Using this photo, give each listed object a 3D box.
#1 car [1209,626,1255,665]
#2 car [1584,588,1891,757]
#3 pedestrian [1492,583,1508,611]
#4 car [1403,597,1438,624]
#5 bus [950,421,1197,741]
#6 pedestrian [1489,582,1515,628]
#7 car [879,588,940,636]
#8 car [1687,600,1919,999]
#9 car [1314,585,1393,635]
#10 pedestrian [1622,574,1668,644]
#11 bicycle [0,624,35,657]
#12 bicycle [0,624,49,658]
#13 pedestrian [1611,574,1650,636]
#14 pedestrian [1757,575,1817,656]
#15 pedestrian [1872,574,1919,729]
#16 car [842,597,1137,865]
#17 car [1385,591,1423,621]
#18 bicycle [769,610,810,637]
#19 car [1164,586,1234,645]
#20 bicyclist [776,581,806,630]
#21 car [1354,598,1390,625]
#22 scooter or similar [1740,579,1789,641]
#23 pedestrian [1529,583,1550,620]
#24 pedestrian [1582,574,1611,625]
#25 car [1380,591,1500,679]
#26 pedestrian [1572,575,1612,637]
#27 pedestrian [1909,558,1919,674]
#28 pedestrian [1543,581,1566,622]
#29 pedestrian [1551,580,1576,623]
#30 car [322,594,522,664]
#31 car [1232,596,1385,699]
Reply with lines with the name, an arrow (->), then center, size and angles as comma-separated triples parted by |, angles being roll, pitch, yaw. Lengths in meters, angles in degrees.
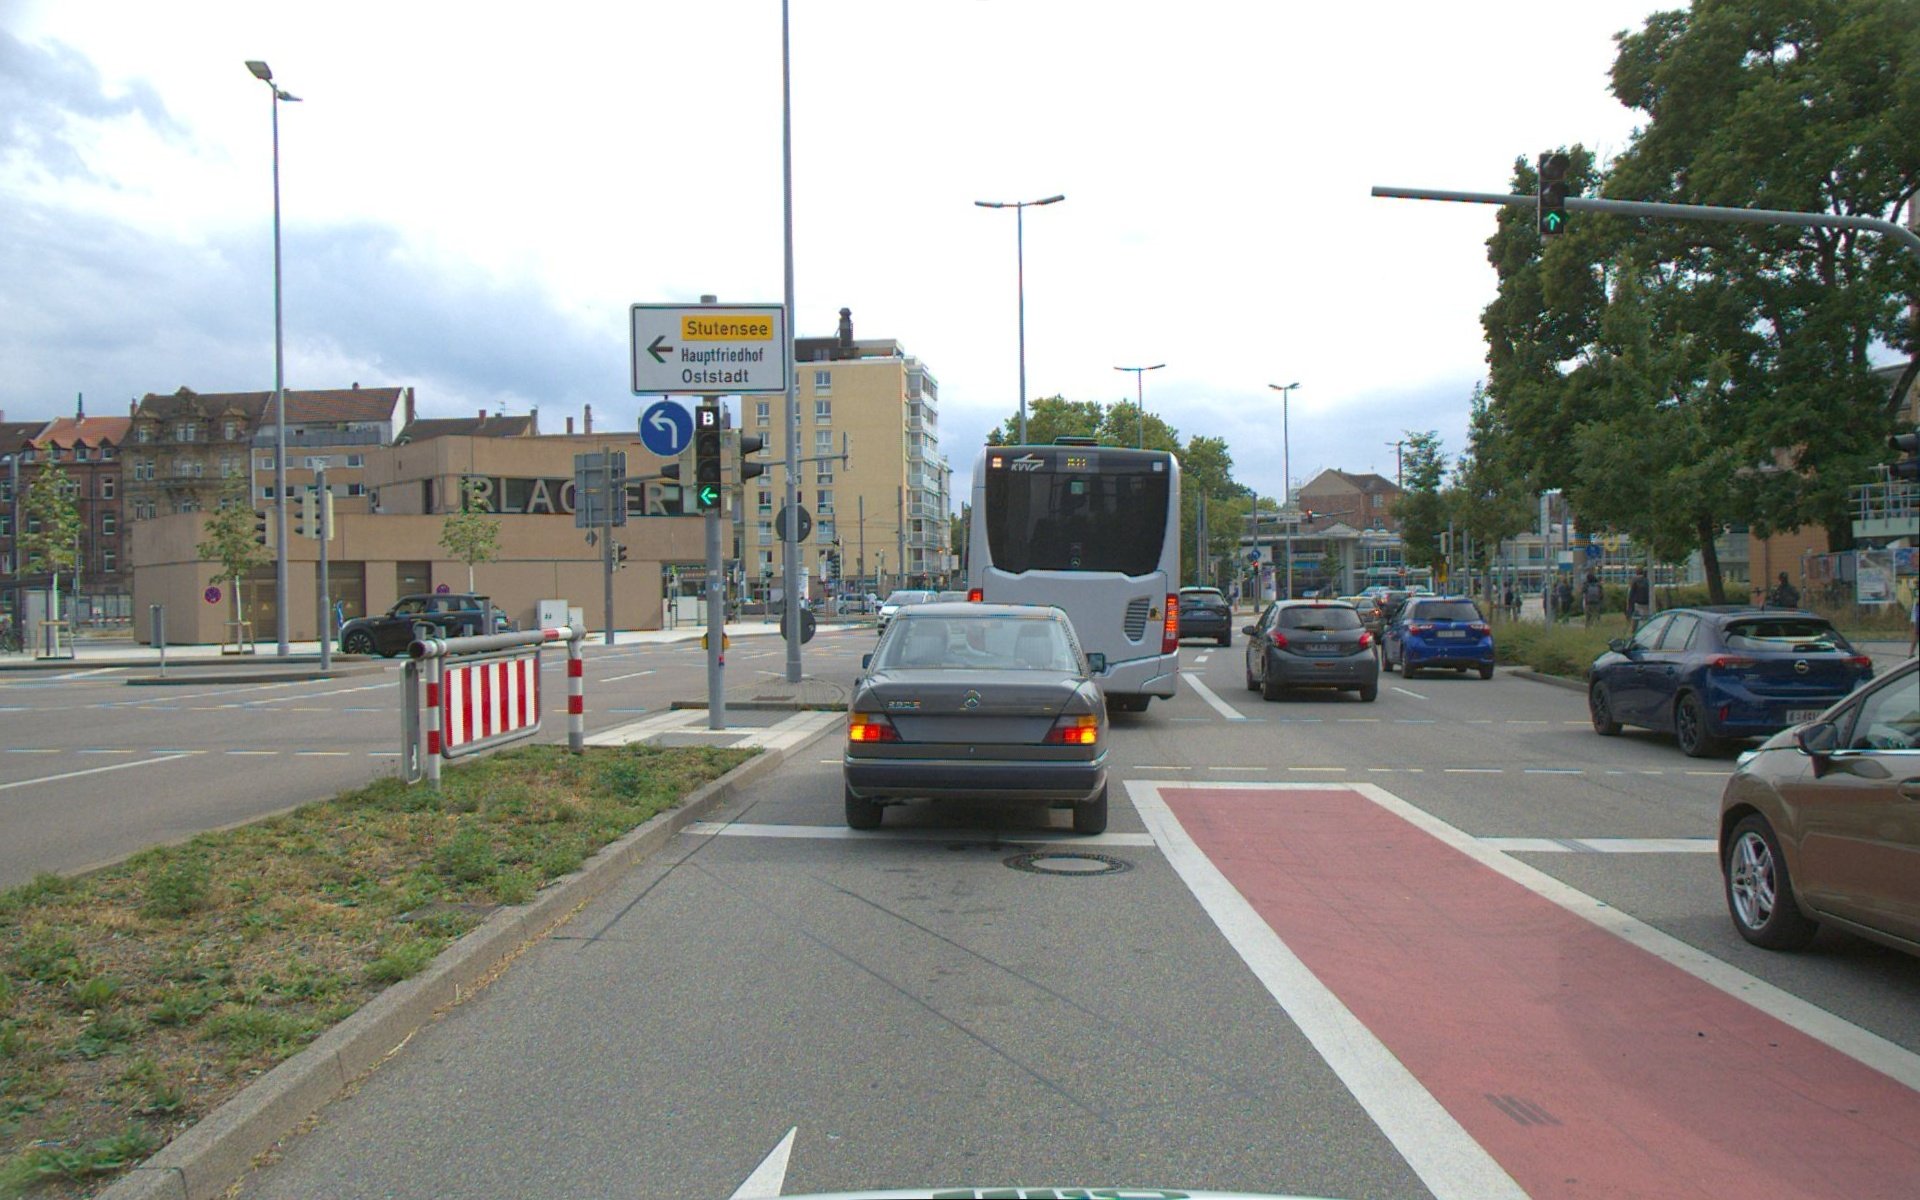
car -> 10.874, 1.813, 66.352 | 1.674, 1.445, 4.003 | 1, 0, 8
car -> 7.859, 0.673, 17.079 | 1.631, 1.534, 3.636 | 1, 0, 3
pedestrian -> 31.266, -0.189, 95.809 | 0.762, 1.601, 0.812 | -2, -1, 24
car -> 25.097, 0.566, 90.114 | 1.668, 1.445, 3.702 | 1, 0, 18
bus -> 1.752, -0.201, 25.689 | 2.648, 3.498, 14.190 | -2, 0, 4
pedestrian -> 19.215, 0.167, 58.629 | 0.762, 1.601, 0.812 | -2, -1, 24
car -> -1.849, 0.440, 61.726 | 1.952, 1.680, 4.291 | 1, 0, 2
car -> 4.287, 0.728, 5.911 | 1.661, 1.429, 3.698 | 1, 0, -2
car -> 12.234, 0.312, 51.325 | 2.087, 1.445, 3.702 | 1, 0, 18
pedestrian -> 17.442, 0.223, 42.133 | 0.762, 1.741, 1.028 | 1, 0, 1
bicycle -> -34.307, 1.438, 59.242 | 0.573, 1.176, 1.955 | 0, -1, 41
bicycle -> -33.260, 1.449, 58.266 | 0.573, 1.176, 1.955 | 0, -1, 41
pedestrian -> 19.106, 0.140, 47.149 | 0.762, 1.741, 0.812 | 1, -1, 1
pedestrian -> 16.841, 0.306, 33.711 | 0.762, 1.601, 0.812 | -2, -1, 1
pedestrian -> 11.083, 0.581, 18.998 | 0.780, 1.741, 0.840 | 1, -1, 3
car -> 0.105, 0.756, 11.605 | 1.661, 1.506, 4.414 | 1, 0, -2
car -> 22.448, 0.303, 83.594 | 1.668, 1.445, 3.702 | 1, 0, 18
bicycle -> -5.964, 0.820, 57.946 | 0.844, 0.892, 2.521 | 1, 0, 8
car -> 6.903, 0.439, 48.018 | 1.796, 1.643, 3.548 | 1, 0, 5
bicyclist -> -5.919, 0.203, 58.032 | 0.848, 1.698, 0.881 | 1, -1, 7
car -> 23.127, 0.656, 92.778 | 1.675, 1.445, 4.002 | 1, 0, 18
scooter or similar -> 18.503, 0.223, 38.045 | 0.390, 1.394, 1.145 | 1, 0, -11
pedestrian -> 25.430, 0.051, 72.607 | 0.762, 1.601, 0.812 | -2, -1, 24
pedestrian -> 20.660, -0.018, 53.688 | 0.762, 1.601, 0.812 | -2, -1, 24
car -> 9.216, 0.646, 32.006 | 1.818, 1.559, 4.005 | 1, 0, 10
pedestrian -> 17.940, 0.174, 46.977 | 0.762, 1.741, 1.028 | 1, 0, 1
pedestrian -> 15.971, 0.254, 26.903 | 0.625, 1.885, 0.708 | -1, -1, 1
pedestrian -> 23.615, 0.067, 65.718 | 0.762, 1.601, 0.812 | -2, -1, 24
pedestrian -> 23.350, 0.051, 63.995 | 0.762, 1.601, 0.812 | -2, -1, 24
car -> -12.460, 0.661, 38.428 | 3.902, 1.512, 2.002 | 1, 0, 8
car -> 5.288, 0.683, 25.507 | 1.675, 1.445, 4.001 | 1, 0, 3
